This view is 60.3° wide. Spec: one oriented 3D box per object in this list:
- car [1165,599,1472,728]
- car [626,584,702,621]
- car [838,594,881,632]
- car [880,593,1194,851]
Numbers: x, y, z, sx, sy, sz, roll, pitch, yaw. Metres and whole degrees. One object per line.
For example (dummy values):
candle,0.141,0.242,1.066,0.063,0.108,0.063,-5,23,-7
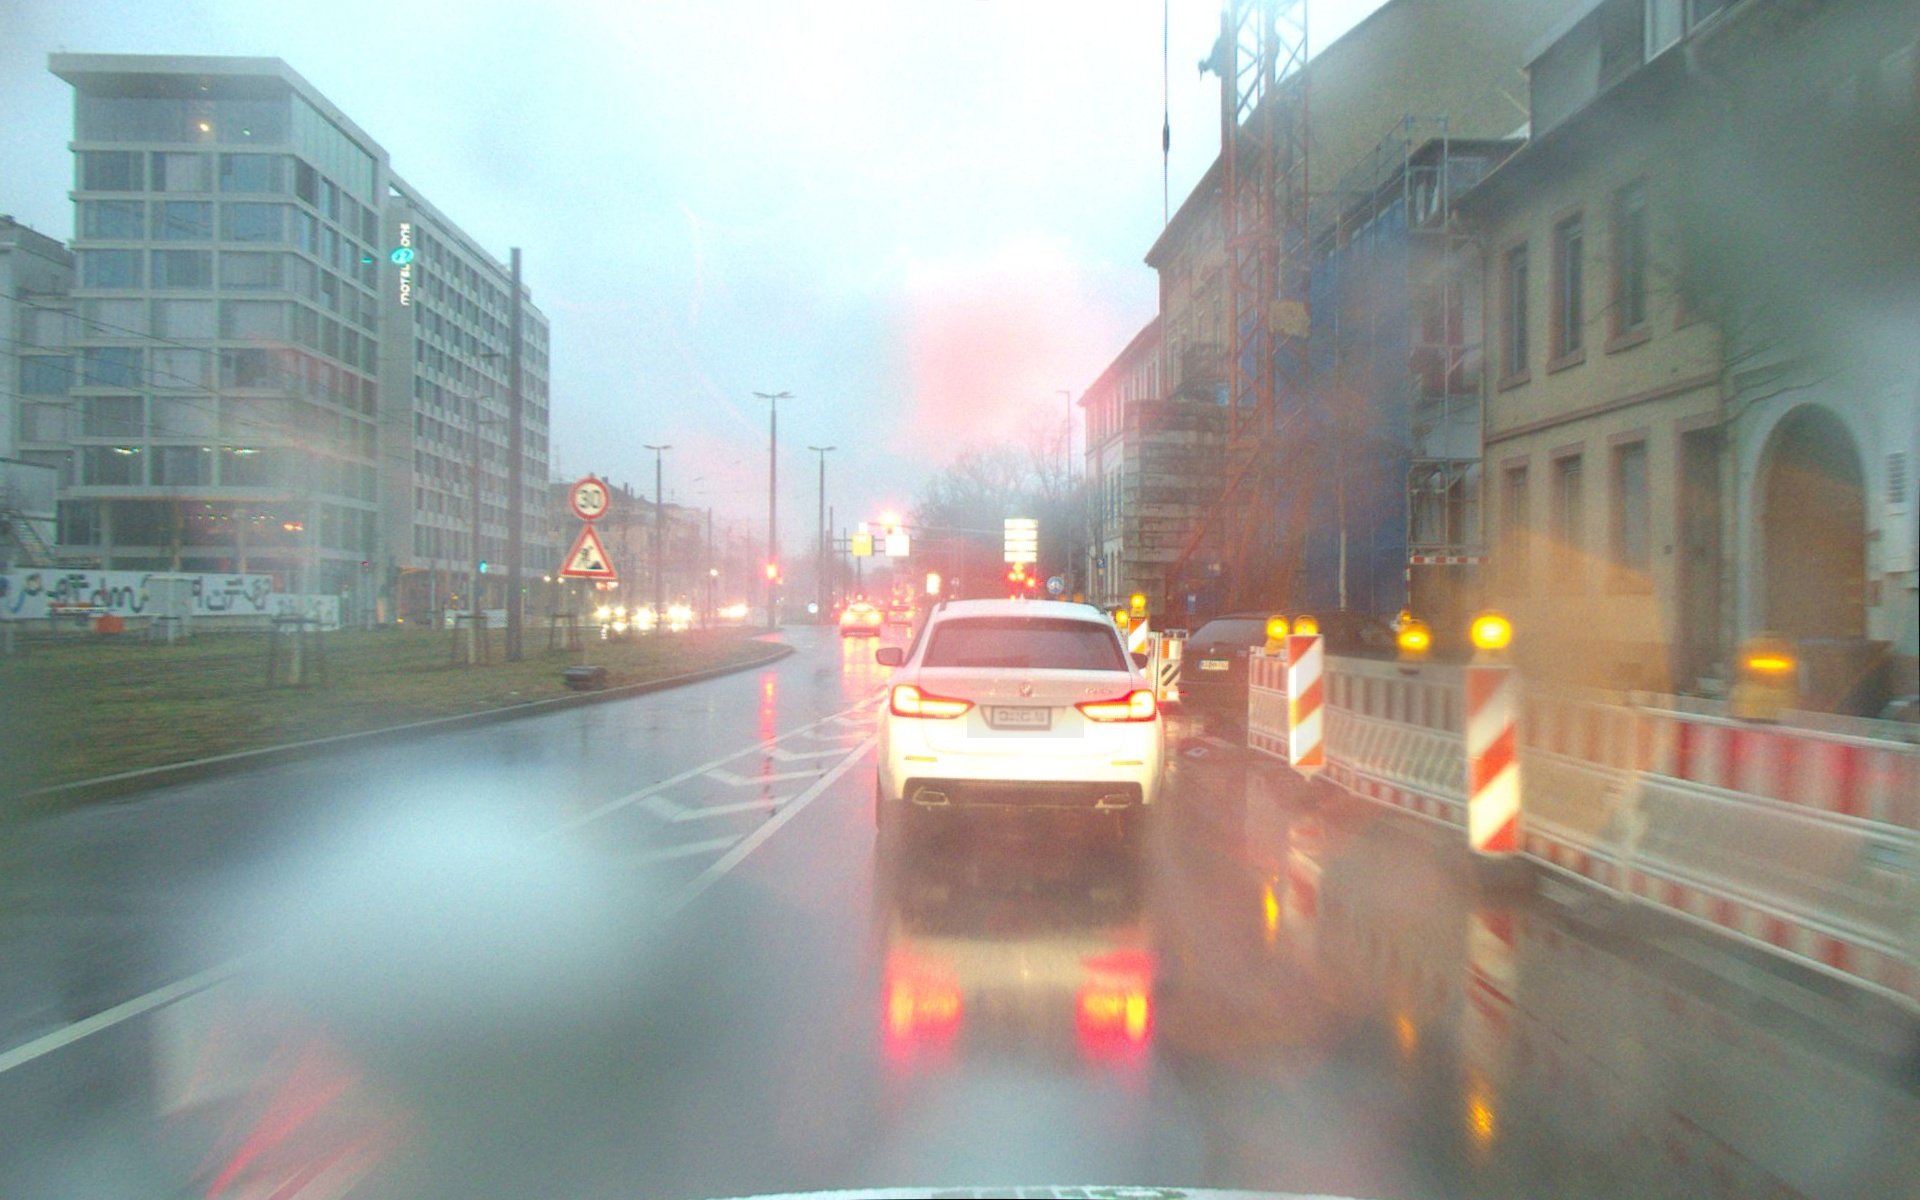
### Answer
car,4.829,0.800,22.025,4.054,1.544,1.881,1,0,-39
car,-16.750,0.144,93.610,3.930,2.010,1.987,1,0,-21
car,-4.668,0.580,77.168,1.863,1.670,3.998,1,0,-2
car,0.341,0.722,12.208,1.815,1.491,4.943,1,0,-3
